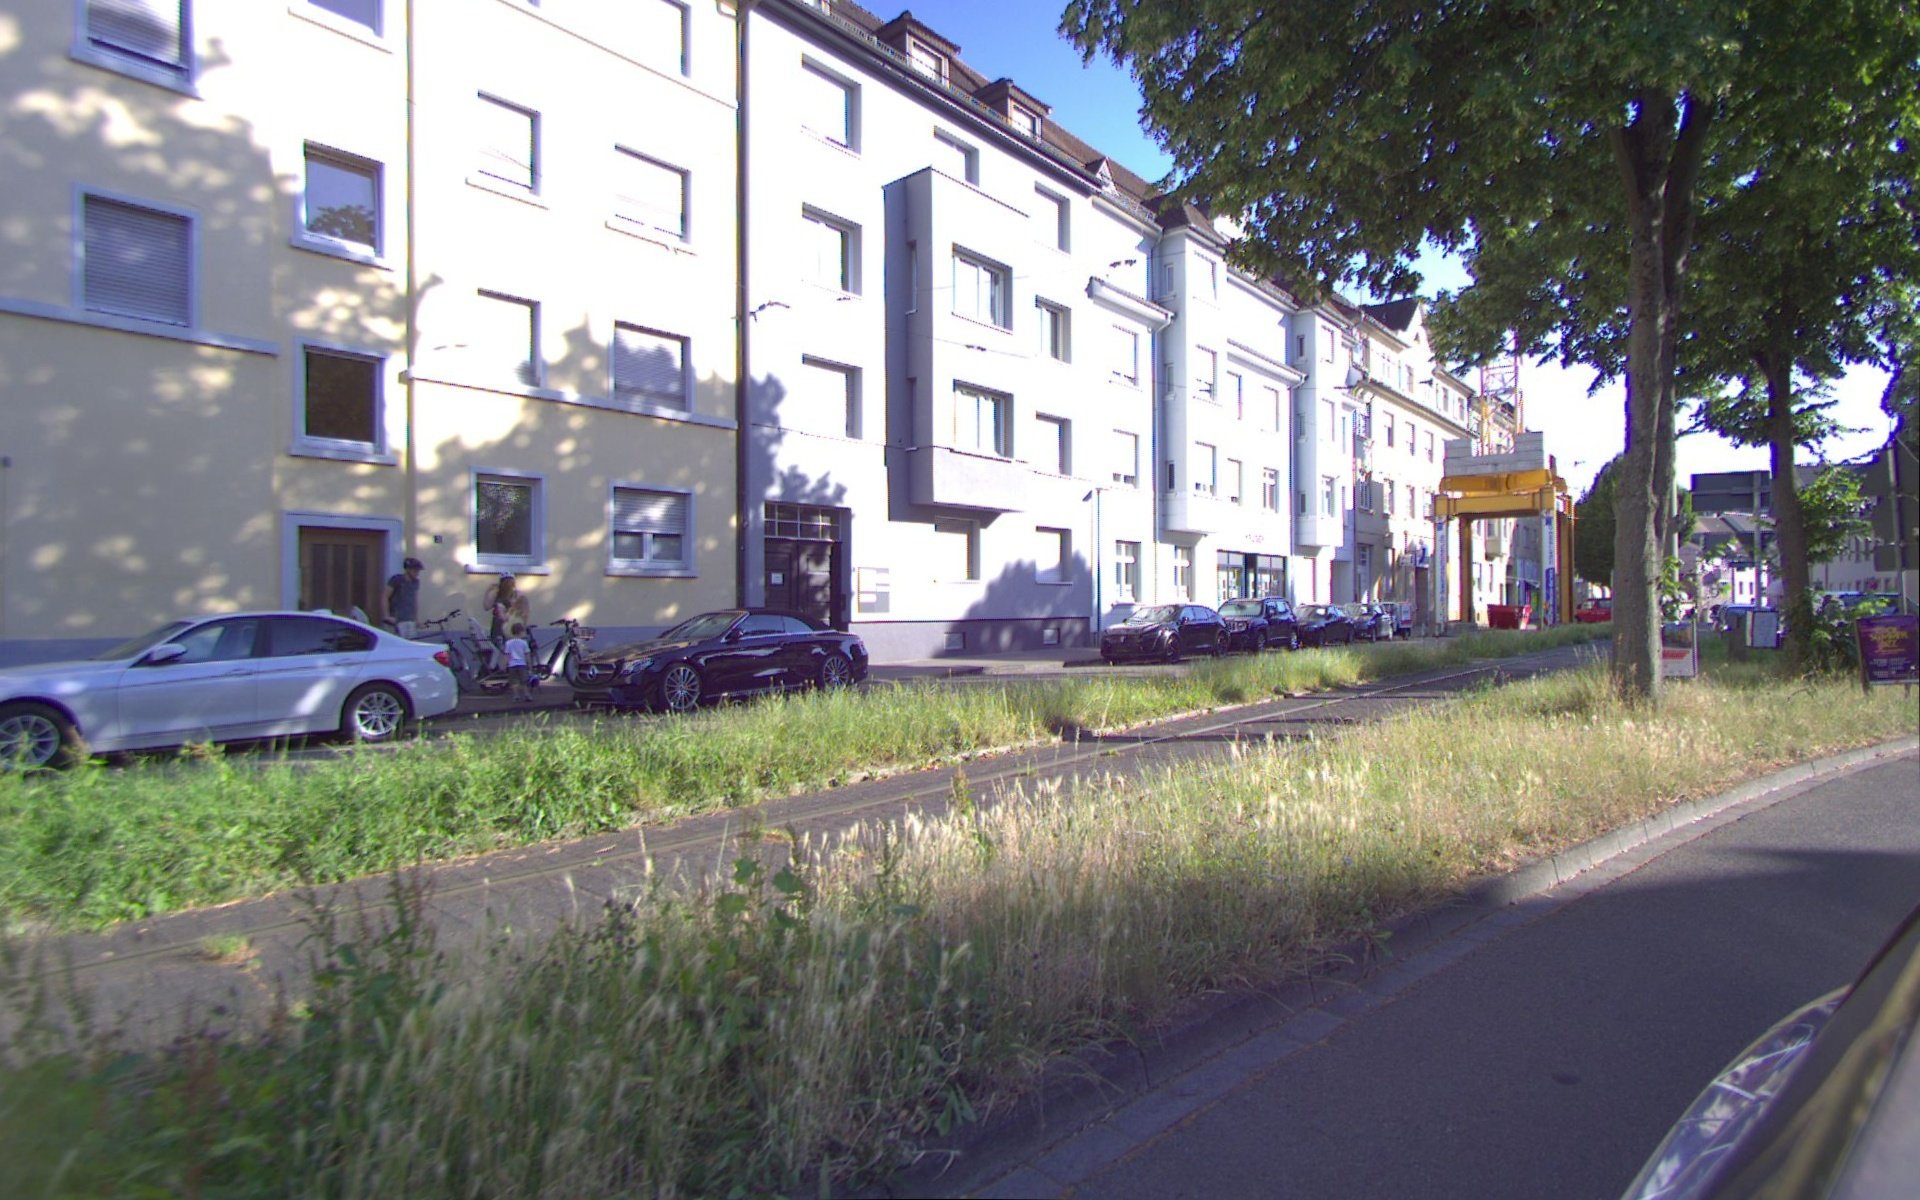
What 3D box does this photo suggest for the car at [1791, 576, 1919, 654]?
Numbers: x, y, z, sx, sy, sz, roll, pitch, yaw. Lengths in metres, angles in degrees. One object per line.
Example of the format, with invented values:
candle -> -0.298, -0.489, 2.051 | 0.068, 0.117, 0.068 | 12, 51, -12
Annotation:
car -> 24.315, 0.378, 26.782 | 1.974, 1.878, 4.871 | 1, 0, 19

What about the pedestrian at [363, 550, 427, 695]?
pedestrian -> -8.196, 0.317, 14.682 | 0.611, 2.039, 0.640 | 0, 0, 40

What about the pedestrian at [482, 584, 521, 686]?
pedestrian -> -7.082, 0.530, 15.644 | 0.303, 1.534, 0.438 | 1, 0, 32

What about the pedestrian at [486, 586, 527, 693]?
pedestrian -> -6.666, 0.565, 14.883 | 0.330, 1.534, 0.437 | 1, 0, 36

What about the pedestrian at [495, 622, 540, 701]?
pedestrian -> -6.260, 0.855, 14.317 | 0.431, 1.079, 0.454 | 0, 0, 41

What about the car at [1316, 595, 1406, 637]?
car -> 15.007, 0.574, 37.751 | 1.991, 1.471, 4.038 | 1, 0, 39

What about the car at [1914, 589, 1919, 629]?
car -> 44.080, 0.400, 45.074 | 1.990, 1.817, 3.942 | -1, -1, 40

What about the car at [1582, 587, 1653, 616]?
car -> 45.803, 0.066, 70.514 | 4.050, 1.945, 1.972 | 1, 0, 38

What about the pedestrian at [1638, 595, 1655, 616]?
pedestrian -> 68.006, 0.527, 100.298 | 1.345, 2.039, 1.145 | 0, 0, 32

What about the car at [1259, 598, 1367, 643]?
car -> 11.895, 0.651, 33.945 | 1.992, 1.404, 4.145 | 1, 0, 42

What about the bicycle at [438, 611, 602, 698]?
bicycle -> -6.538, 0.769, 15.177 | 0.533, 1.145, 2.276 | 0, 1, 39

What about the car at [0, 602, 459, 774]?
car -> -7.777, 0.747, 10.299 | 1.990, 1.404, 4.383 | 1, 0, 39

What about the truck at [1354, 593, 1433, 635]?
truck -> 17.997, 0.556, 41.915 | 1.991, 1.605, 4.038 | 1, 0, 39

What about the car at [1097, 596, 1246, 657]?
car -> 5.534, 0.632, 26.101 | 1.990, 1.404, 4.383 | 1, 0, 39

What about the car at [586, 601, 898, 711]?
car -> -3.162, 0.742, 15.430 | 1.990, 1.404, 4.383 | 1, 0, 39

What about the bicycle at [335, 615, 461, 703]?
bicycle -> -8.059, 0.821, 14.548 | 0.533, 1.145, 1.494 | 0, 1, 39

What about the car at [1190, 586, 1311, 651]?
car -> 8.699, 0.506, 30.083 | 1.990, 1.771, 4.149 | 1, 0, 39

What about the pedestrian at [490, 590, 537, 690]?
pedestrian -> -6.627, 0.576, 15.022 | 0.523, 1.459, 0.454 | 0, 0, 41

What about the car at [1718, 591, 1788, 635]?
car -> 29.905, 0.464, 38.184 | 1.990, 1.538, 4.015 | 1, 0, 38

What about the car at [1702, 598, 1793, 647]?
car -> 25.516, 0.690, 32.932 | 1.986, 1.463, 4.023 | 1, 0, 33
